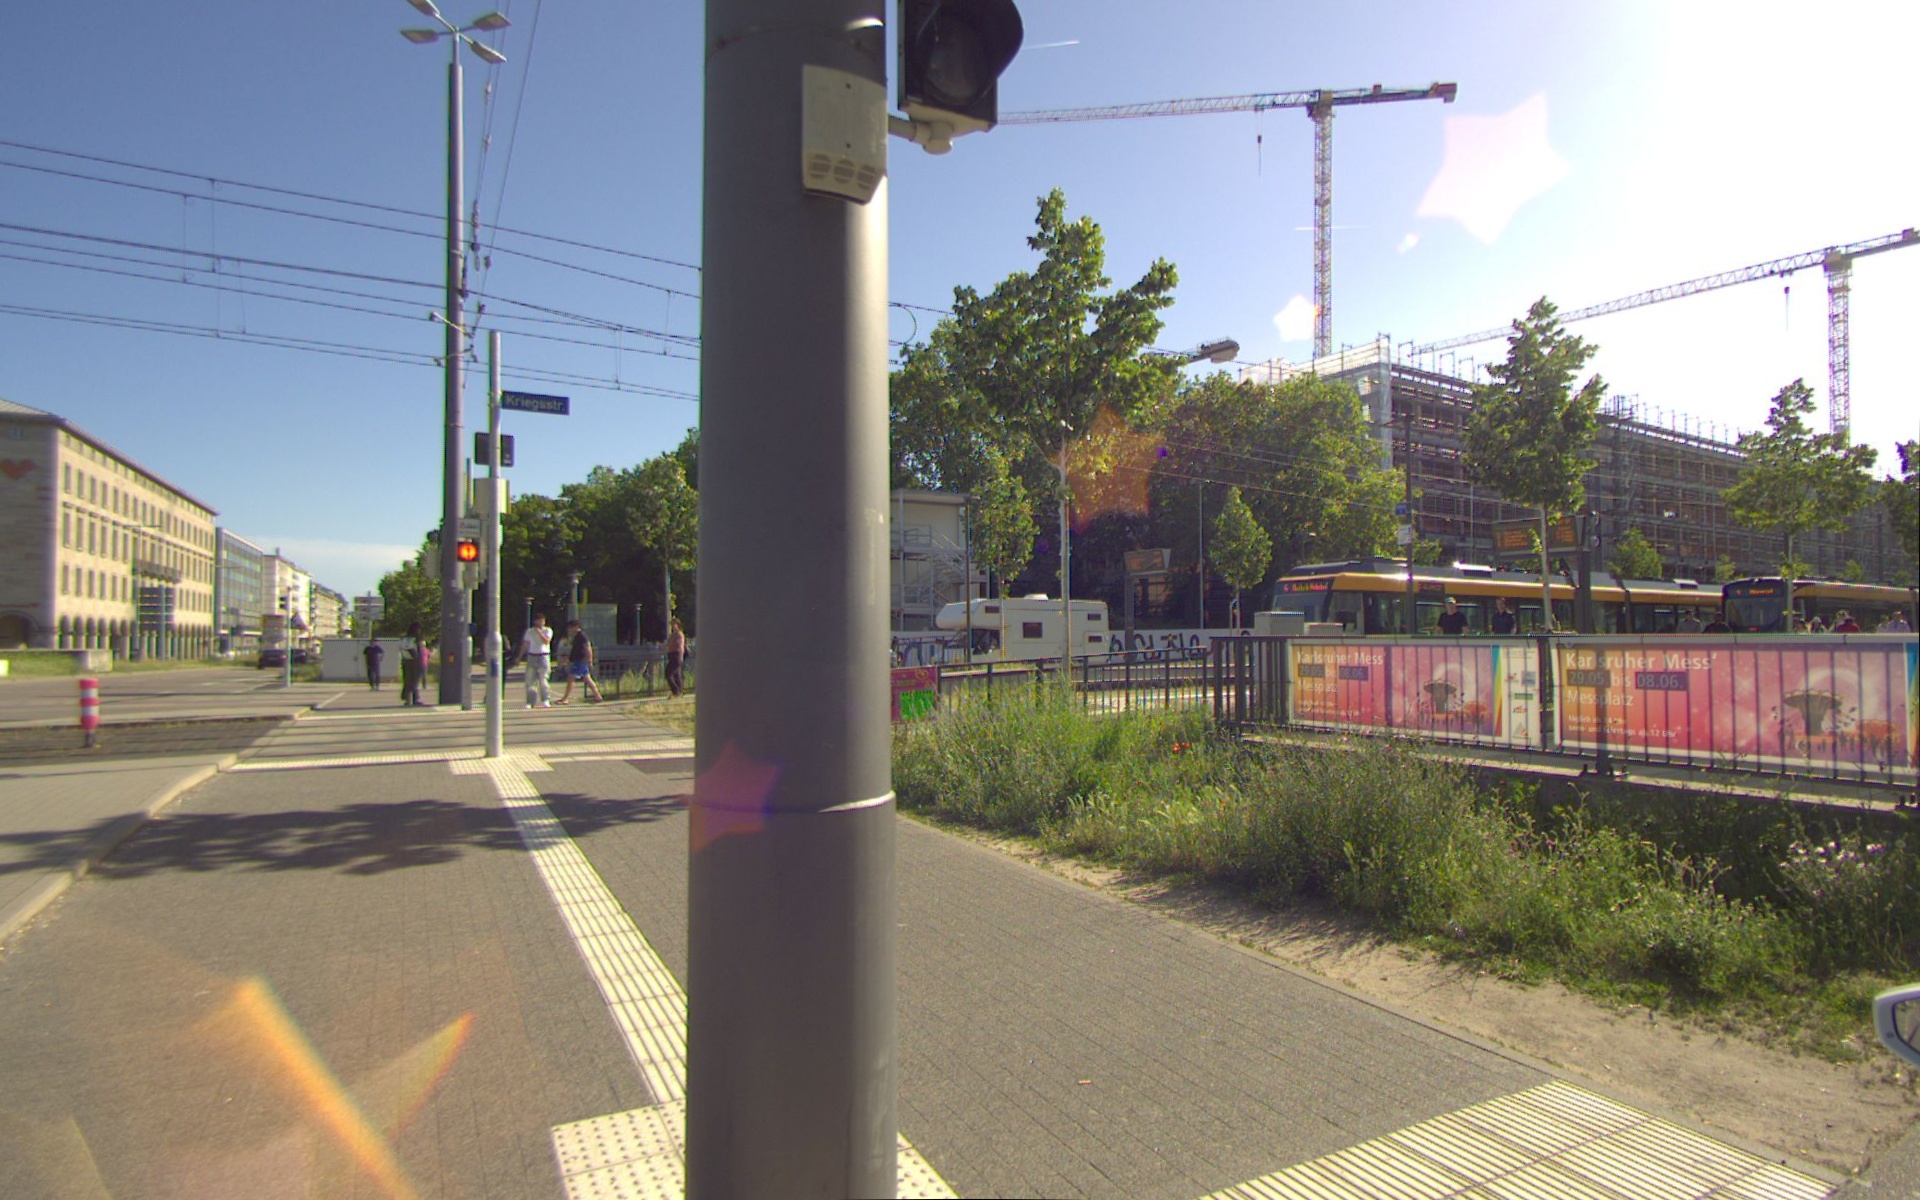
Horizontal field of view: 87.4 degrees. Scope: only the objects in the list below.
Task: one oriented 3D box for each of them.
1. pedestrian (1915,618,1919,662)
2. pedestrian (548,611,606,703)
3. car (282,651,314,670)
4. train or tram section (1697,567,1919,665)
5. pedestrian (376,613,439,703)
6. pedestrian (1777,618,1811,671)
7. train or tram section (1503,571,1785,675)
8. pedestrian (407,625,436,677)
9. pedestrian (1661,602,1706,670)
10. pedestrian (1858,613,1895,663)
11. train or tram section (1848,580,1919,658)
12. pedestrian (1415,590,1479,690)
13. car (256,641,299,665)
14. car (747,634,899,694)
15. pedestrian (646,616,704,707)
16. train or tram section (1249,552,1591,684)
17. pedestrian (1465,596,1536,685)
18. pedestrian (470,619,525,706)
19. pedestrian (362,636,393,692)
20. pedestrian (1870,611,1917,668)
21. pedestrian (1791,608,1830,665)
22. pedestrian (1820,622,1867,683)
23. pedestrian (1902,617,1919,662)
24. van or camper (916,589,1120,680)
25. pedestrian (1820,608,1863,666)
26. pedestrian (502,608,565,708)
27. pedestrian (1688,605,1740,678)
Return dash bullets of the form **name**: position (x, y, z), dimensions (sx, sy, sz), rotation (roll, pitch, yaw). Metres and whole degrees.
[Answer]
- **pedestrian**: position (37.016, 1.525, 38.234), dimensions (0.852, 1.650, 0.738), rotation (1, -2, -31)
- **pedestrian**: position (-7.938, 1.162, 20.809), dimensions (0.966, 1.847, 0.795), rotation (1, -2, -34)
- **car**: position (-60.878, 5.572, 92.434), dimensions (1.974, 1.622, 3.974), rotation (1, -2, -26)
- **train or tram section**: position (33.819, 0.659, 39.301), dimensions (15.019, 3.323, 2.854), rotation (1, 0, -33)
- **pedestrian**: position (-11.664, 1.219, 21.213), dimensions (0.864, 1.847, 0.802), rotation (0, -2, 0)
- **pedestrian**: position (24.583, 1.289, 29.607), dimensions (0.582, 1.533, 0.643), rotation (0, 0, -35)
- **train or tram section**: position (26.333, 0.842, 38.054), dimensions (15.791, 3.366, 2.831), rotation (1, 1, -33)
- **pedestrian**: position (-19.240, 1.821, 35.890), dimensions (0.687, 1.847, 0.595), rotation (-1, -2, 21)
- **pedestrian**: position (19.710, 0.965, 27.366), dimensions (0.818, 1.799, 0.756), rotation (0, 0, -34)
- **pedestrian**: position (32.437, 1.340, 35.561), dimensions (0.852, 1.716, 0.738), rotation (1, -2, -31)
- **train or tram section**: position (49.373, 1.001, 49.257), dimensions (21.901, 3.323, 2.854), rotation (1, 0, -33)
- **pedestrian**: position (9.046, 0.724, 18.652), dimensions (0.950, 1.799, 0.698), rotation (0, 0, -35)
- **car**: position (-48.293, 3.737, 71.125), dimensions (1.974, 1.622, 3.974), rotation (1, -2, -26)
- **car**: position (-4.226, 1.925, 31.209), dimensions (4.321, 1.730, 1.934), rotation (1, -2, -34)
- **pedestrian**: position (-5.922, 1.263, 20.889), dimensions (0.966, 1.847, 0.795), rotation (1, -2, -34)
- **train or tram section**: position (14.262, 0.573, 30.301), dimensions (12.930, 3.354, 2.854), rotation (1, 0, -33)
- **pedestrian**: position (11.247, 0.823, 20.905), dimensions (1.177, 1.799, 0.868), rotation (0, 0, -35)
- **pedestrian**: position (-10.072, 1.336, 21.882), dimensions (0.966, 1.847, 0.795), rotation (1, -2, -34)
- **pedestrian**: position (-19.608, 2.152, 33.809), dimensions (0.687, 1.847, 0.595), rotation (-1, -2, 21)
- **pedestrian**: position (31.043, 1.314, 33.402), dimensions (0.996, 1.875, 0.882), rotation (1, -2, -32)
- **pedestrian**: position (27.922, 1.193, 32.959), dimensions (1.063, 1.834, 0.668), rotation (1, -2, -33)
- **pedestrian**: position (24.380, 1.430, 27.728), dimensions (0.852, 1.650, 0.738), rotation (1, -2, -31)
- **pedestrian**: position (35.421, 1.451, 37.078), dimensions (0.852, 1.650, 0.738), rotation (1, -2, -31)
- **van or camper**: position (2.162, 1.234, 36.063), dimensions (7.265, 2.976, 2.590), rotation (1, -2, -34)
- **pedestrian**: position (28.366, 1.181, 32.312), dimensions (1.020, 1.834, 0.765), rotation (1, -2, -33)
- **pedestrian**: position (-8.081, 1.083, 19.033), dimensions (0.966, 1.847, 0.795), rotation (1, -2, -34)
- **pedestrian**: position (19.051, 1.019, 25.387), dimensions (0.969, 1.799, 0.786), rotation (0, 0, -35)
